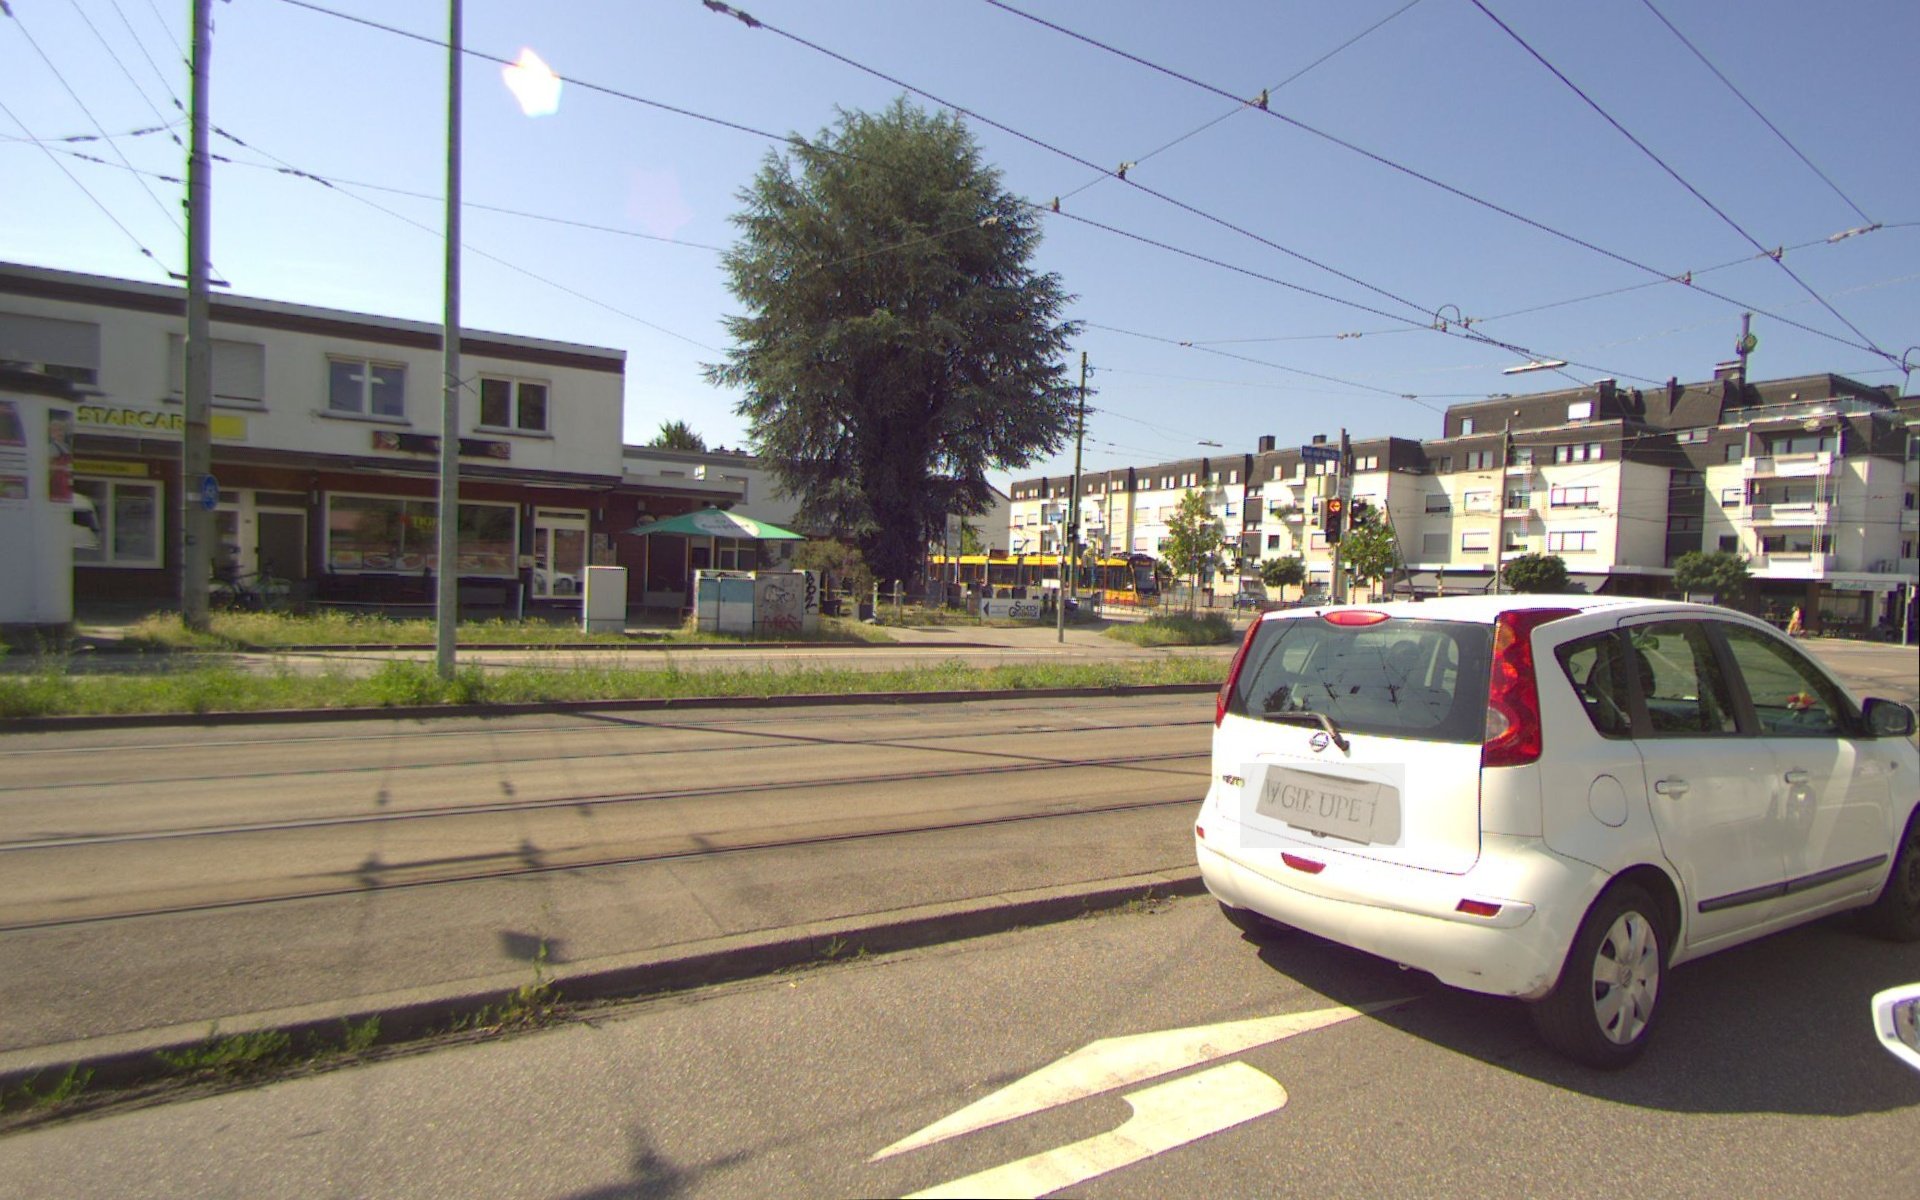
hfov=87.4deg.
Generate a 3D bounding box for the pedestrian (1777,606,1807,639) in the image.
[{"bbox_3d":[46.070,1.248,55.616,0.955,1.766,0.865,2,-1,6],"label":"pedestrian"}]

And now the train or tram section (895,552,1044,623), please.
[{"bbox_3d":[0.371,-0.934,83.285,4.681,5.217,16.121,2,-1,-30],"label":"train or tram section"}]

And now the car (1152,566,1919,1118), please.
[{"bbox_3d":[2.848,0.703,4.553,3.759,1.587,1.634,0,0,-31],"label":"car"}]

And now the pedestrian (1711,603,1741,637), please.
[{"bbox_3d":[41.911,1.092,54.953,0.956,1.766,0.864,2,-1,0],"label":"pedestrian"}]

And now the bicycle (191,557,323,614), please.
[{"bbox_3d":[-15.522,-0.295,22.269,2.306,1.167,0.783,2,-1,-30],"label":"bicycle"}]

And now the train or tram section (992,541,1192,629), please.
[{"bbox_3d":[8.527,-0.899,69.384,4.681,5.217,16.121,2,-1,-30],"label":"train or tram section"}]
